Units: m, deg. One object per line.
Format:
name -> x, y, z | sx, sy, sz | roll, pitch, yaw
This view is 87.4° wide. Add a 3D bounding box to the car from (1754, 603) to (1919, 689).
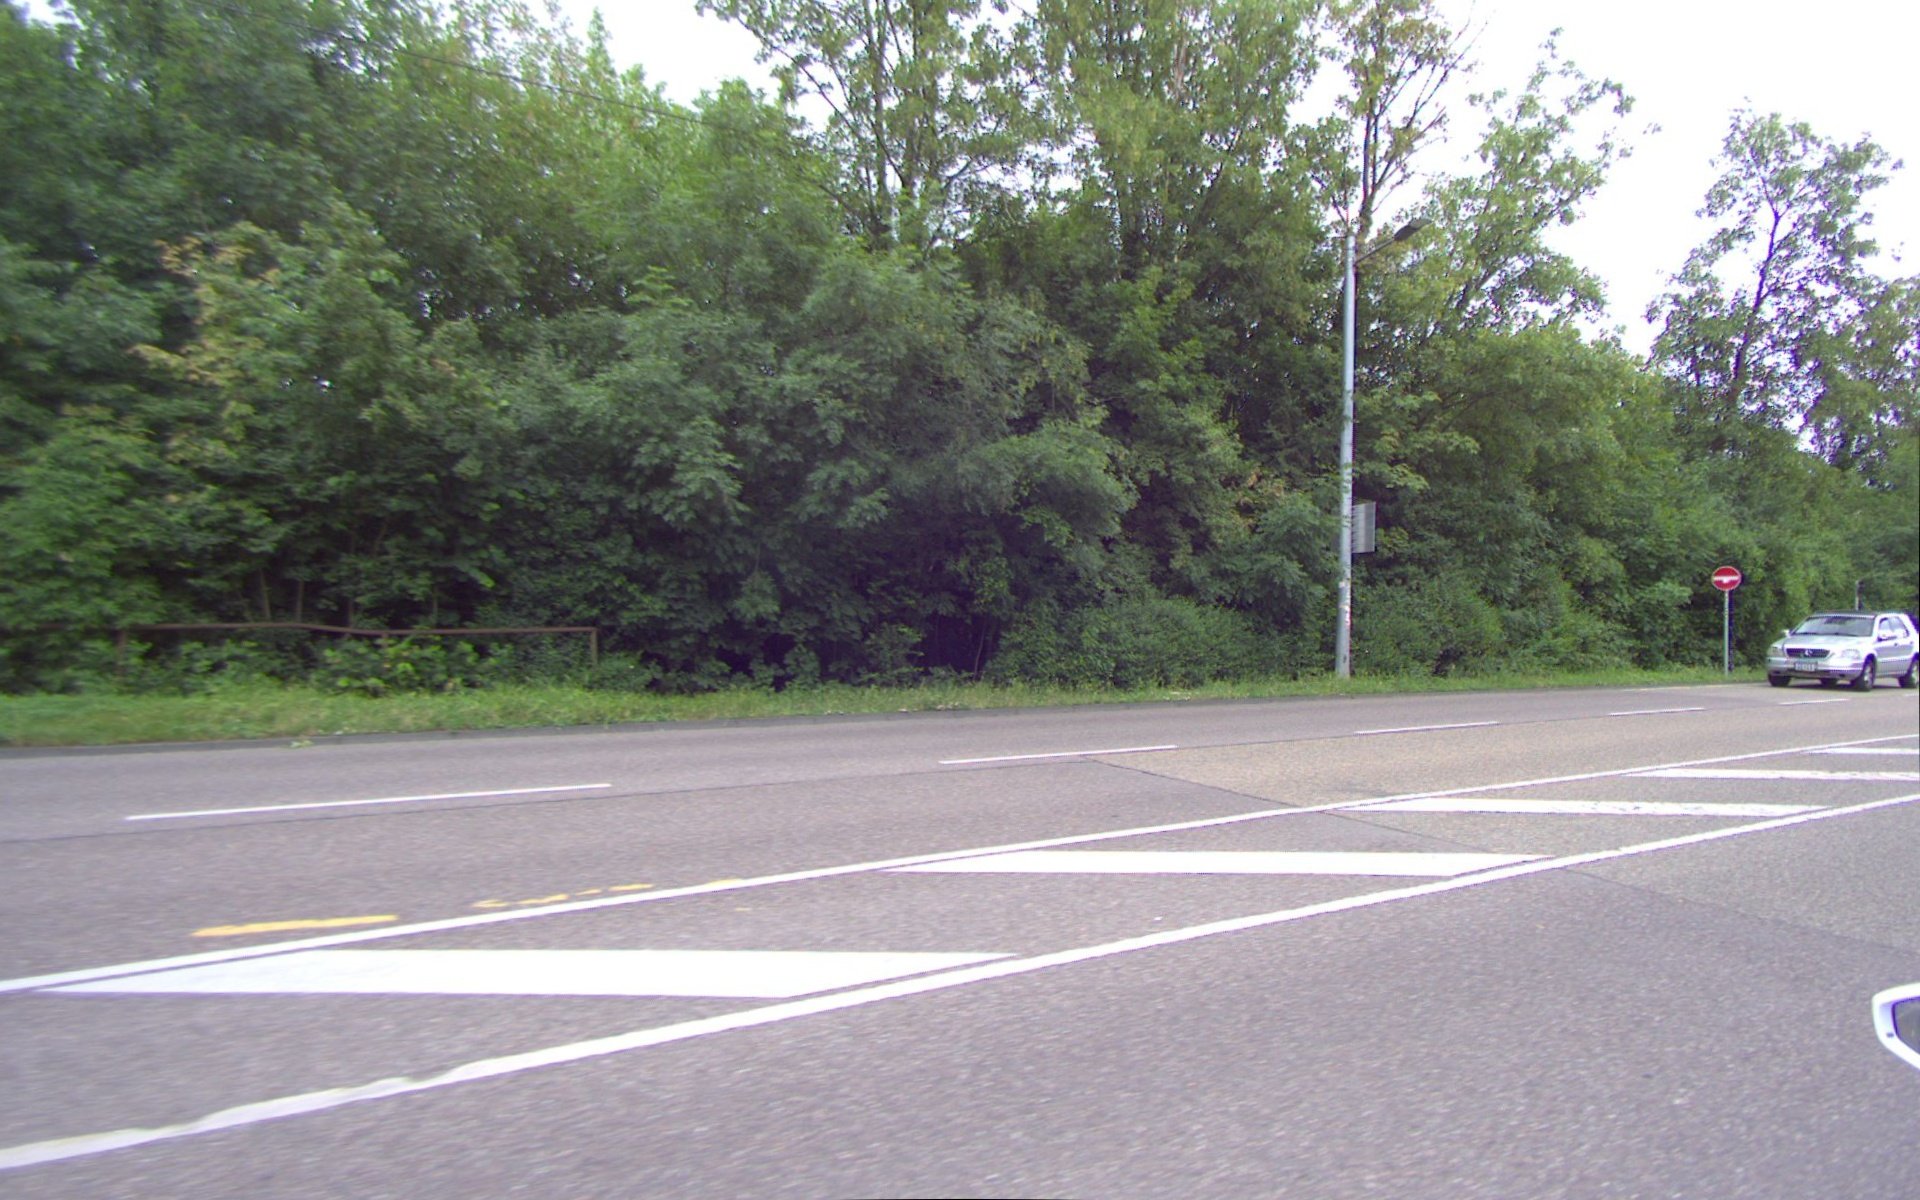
car -> 20.815, 1.038, 23.685 | 4.331, 1.854, 1.805 | 1, -1, -30
